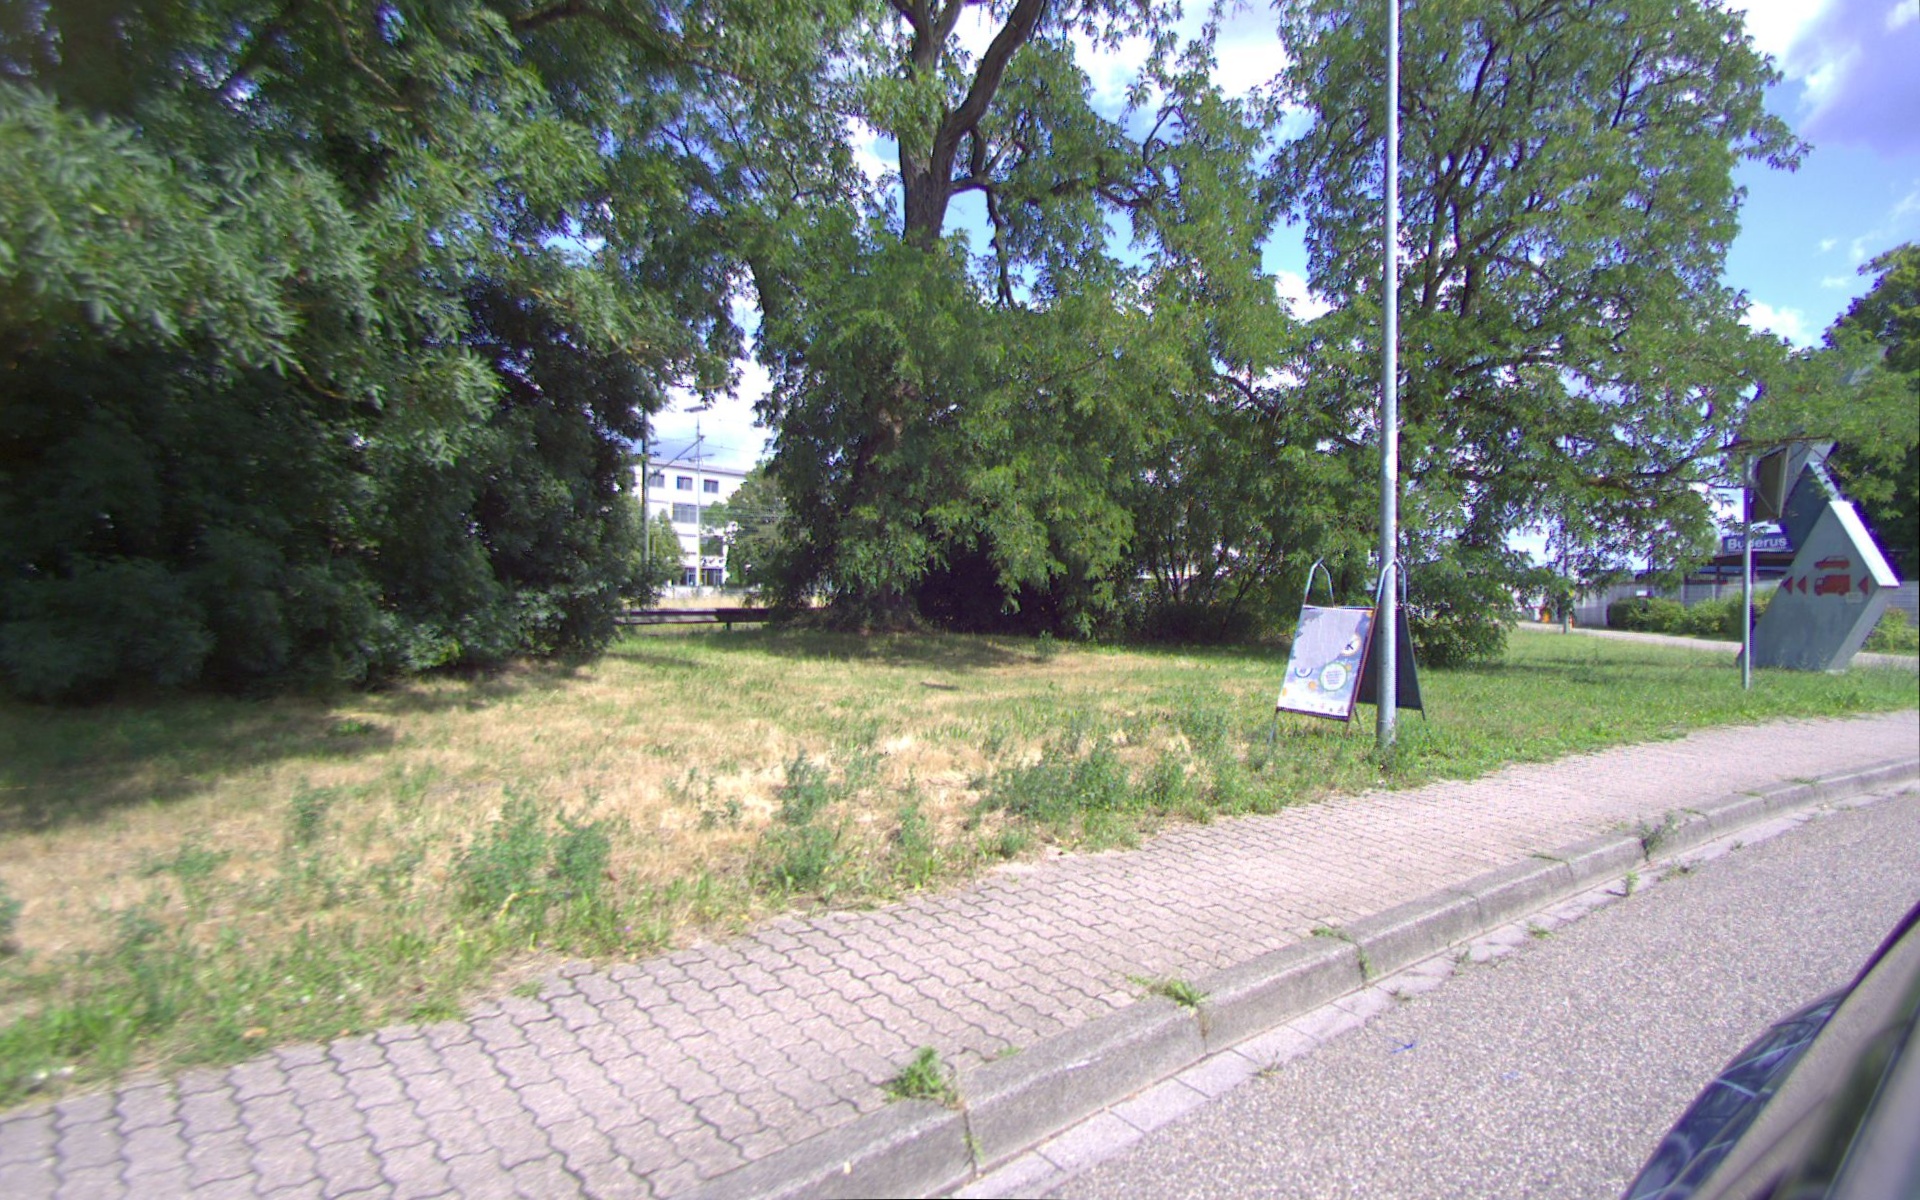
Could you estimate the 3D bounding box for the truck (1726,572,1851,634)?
[{"bbox_3d":[35.617,0.081,43.696,1.967,2.455,4.732,1,1,9],"label":"truck"}]
